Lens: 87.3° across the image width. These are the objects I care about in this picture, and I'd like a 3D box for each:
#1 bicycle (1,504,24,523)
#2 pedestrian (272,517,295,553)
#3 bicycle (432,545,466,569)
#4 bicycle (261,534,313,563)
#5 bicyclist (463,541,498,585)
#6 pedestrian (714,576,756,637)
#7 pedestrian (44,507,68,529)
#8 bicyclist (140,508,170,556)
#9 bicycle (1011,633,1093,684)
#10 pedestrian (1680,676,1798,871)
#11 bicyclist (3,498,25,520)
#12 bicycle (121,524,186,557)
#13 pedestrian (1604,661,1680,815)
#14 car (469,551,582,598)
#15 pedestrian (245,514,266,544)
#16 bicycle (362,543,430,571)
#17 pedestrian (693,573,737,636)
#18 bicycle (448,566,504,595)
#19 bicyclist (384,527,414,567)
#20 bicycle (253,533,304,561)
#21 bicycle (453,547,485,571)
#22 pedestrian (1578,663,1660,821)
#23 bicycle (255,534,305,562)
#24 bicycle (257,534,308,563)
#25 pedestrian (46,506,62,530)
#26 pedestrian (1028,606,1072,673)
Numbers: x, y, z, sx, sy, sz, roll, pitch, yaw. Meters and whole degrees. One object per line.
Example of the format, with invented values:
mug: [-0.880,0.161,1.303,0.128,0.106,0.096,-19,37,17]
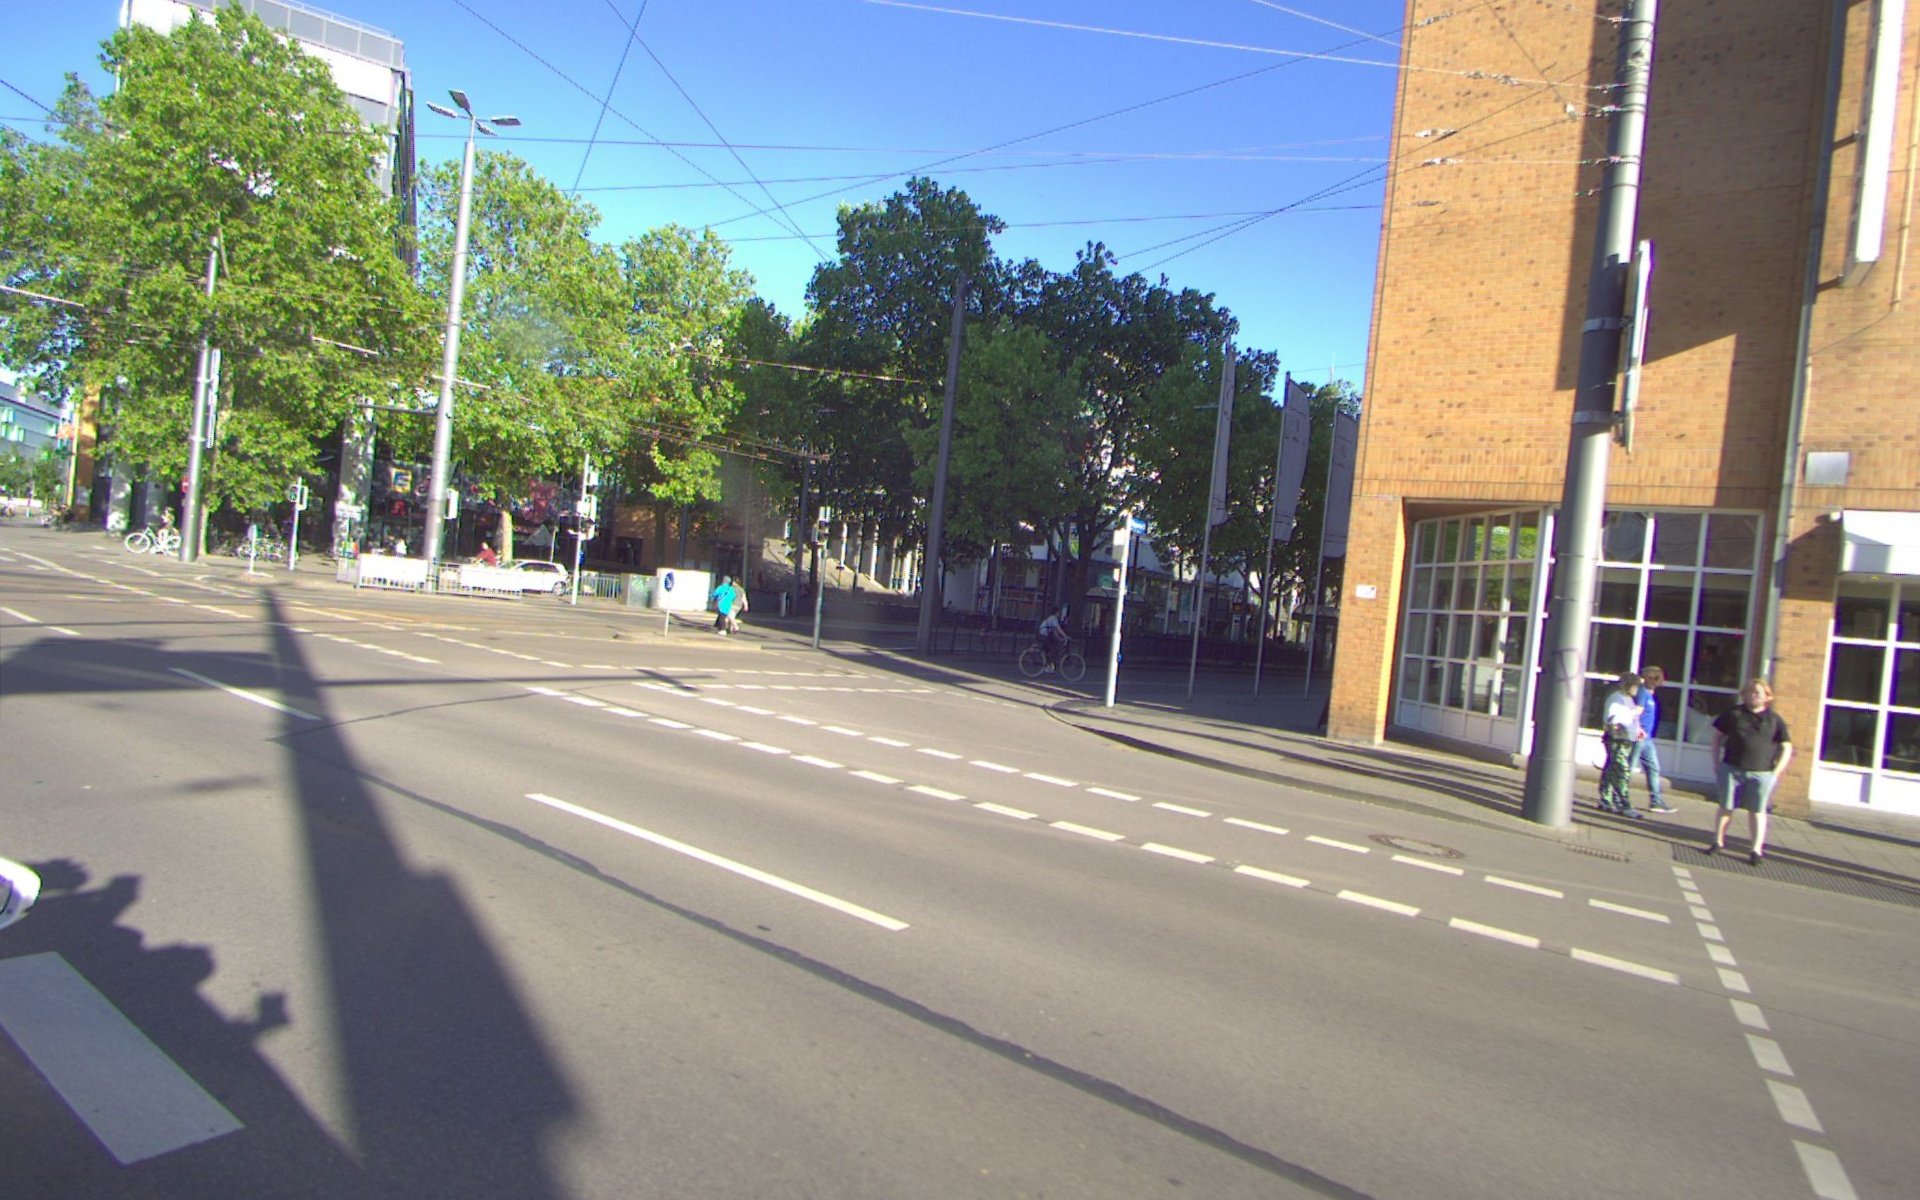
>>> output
bicycle: [-69.258,-6.339,73.520,3.139,1.147,1.037,6,0,44]
pedestrian: [-38.132,-3.662,56.725,0.842,1.873,0.802,8,-1,-35]
bicycle: [-26.676,-2.252,52.552,0.864,1.105,2.923,7,0,-15]
bicycle: [-28.245,-2.169,42.233,1.699,0.998,0.386,6,1,-43]
bicyclist: [-19.128,-1.472,40.127,0.628,1.635,0.925,7,1,37]
pedestrian: [-6.155,0.179,27.503,0.729,1.558,0.651,6,0,26]
pedestrian: [-49.354,-4.487,54.915,0.778,1.070,0.806,6,1,-34]
bicyclist: [-30.528,-2.582,38.165,0.562,1.716,0.740,6,1,45]
bicycle: [2.329,1.483,25.717,1.888,1.064,0.792,7,-1,-3]
pedestrian: [7.805,1.707,10.111,0.683,1.789,0.572,7,1,32]
bicyclist: [-68.981,-6.637,73.345,1.543,1.398,1.037,7,0,44]
bicycle: [-30.569,-2.235,38.151,0.510,1.034,1.847,6,0,44]
pedestrian: [8.303,1.658,12.243,0.593,1.748,0.602,6,0,37]
car: [-18.865,-1.086,43.810,1.970,1.503,3.987,6,-2,37]
pedestrian: [-38.286,-3.858,54.698,0.770,1.546,0.559,5,1,-31]
bicycle: [-29.877,-2.264,53.335,3.017,1.127,0.829,7,0,-30]
pedestrian: [-6.509,0.126,26.724,0.729,1.558,0.676,6,0,26]
bicycle: [-19.266,-0.762,40.081,0.642,0.921,1.852,7,0,37]
bicyclist: [-29.764,-2.830,53.359,1.217,1.955,0.829,6,1,-30]
bicycle: [-29.465,-2.288,43.514,1.699,0.998,0.386,6,1,-43]
bicycle: [-25.823,-2.140,52.924,0.864,1.105,2.923,7,0,-15]
pedestrian: [7.776,1.654,11.873,0.648,1.724,0.561,6,-1,36]
bicycle: [-29.189,-2.243,43.186,1.699,0.998,0.386,6,1,-43]
bicycle: [-28.848,-2.192,42.832,1.699,0.998,0.386,6,1,-43]
pedestrian: [-64.889,-5.867,72.046,0.703,1.590,0.615,5,2,-42]
pedestrian: [2.291,1.008,25.689,0.823,1.613,0.772,6,0,-5]
